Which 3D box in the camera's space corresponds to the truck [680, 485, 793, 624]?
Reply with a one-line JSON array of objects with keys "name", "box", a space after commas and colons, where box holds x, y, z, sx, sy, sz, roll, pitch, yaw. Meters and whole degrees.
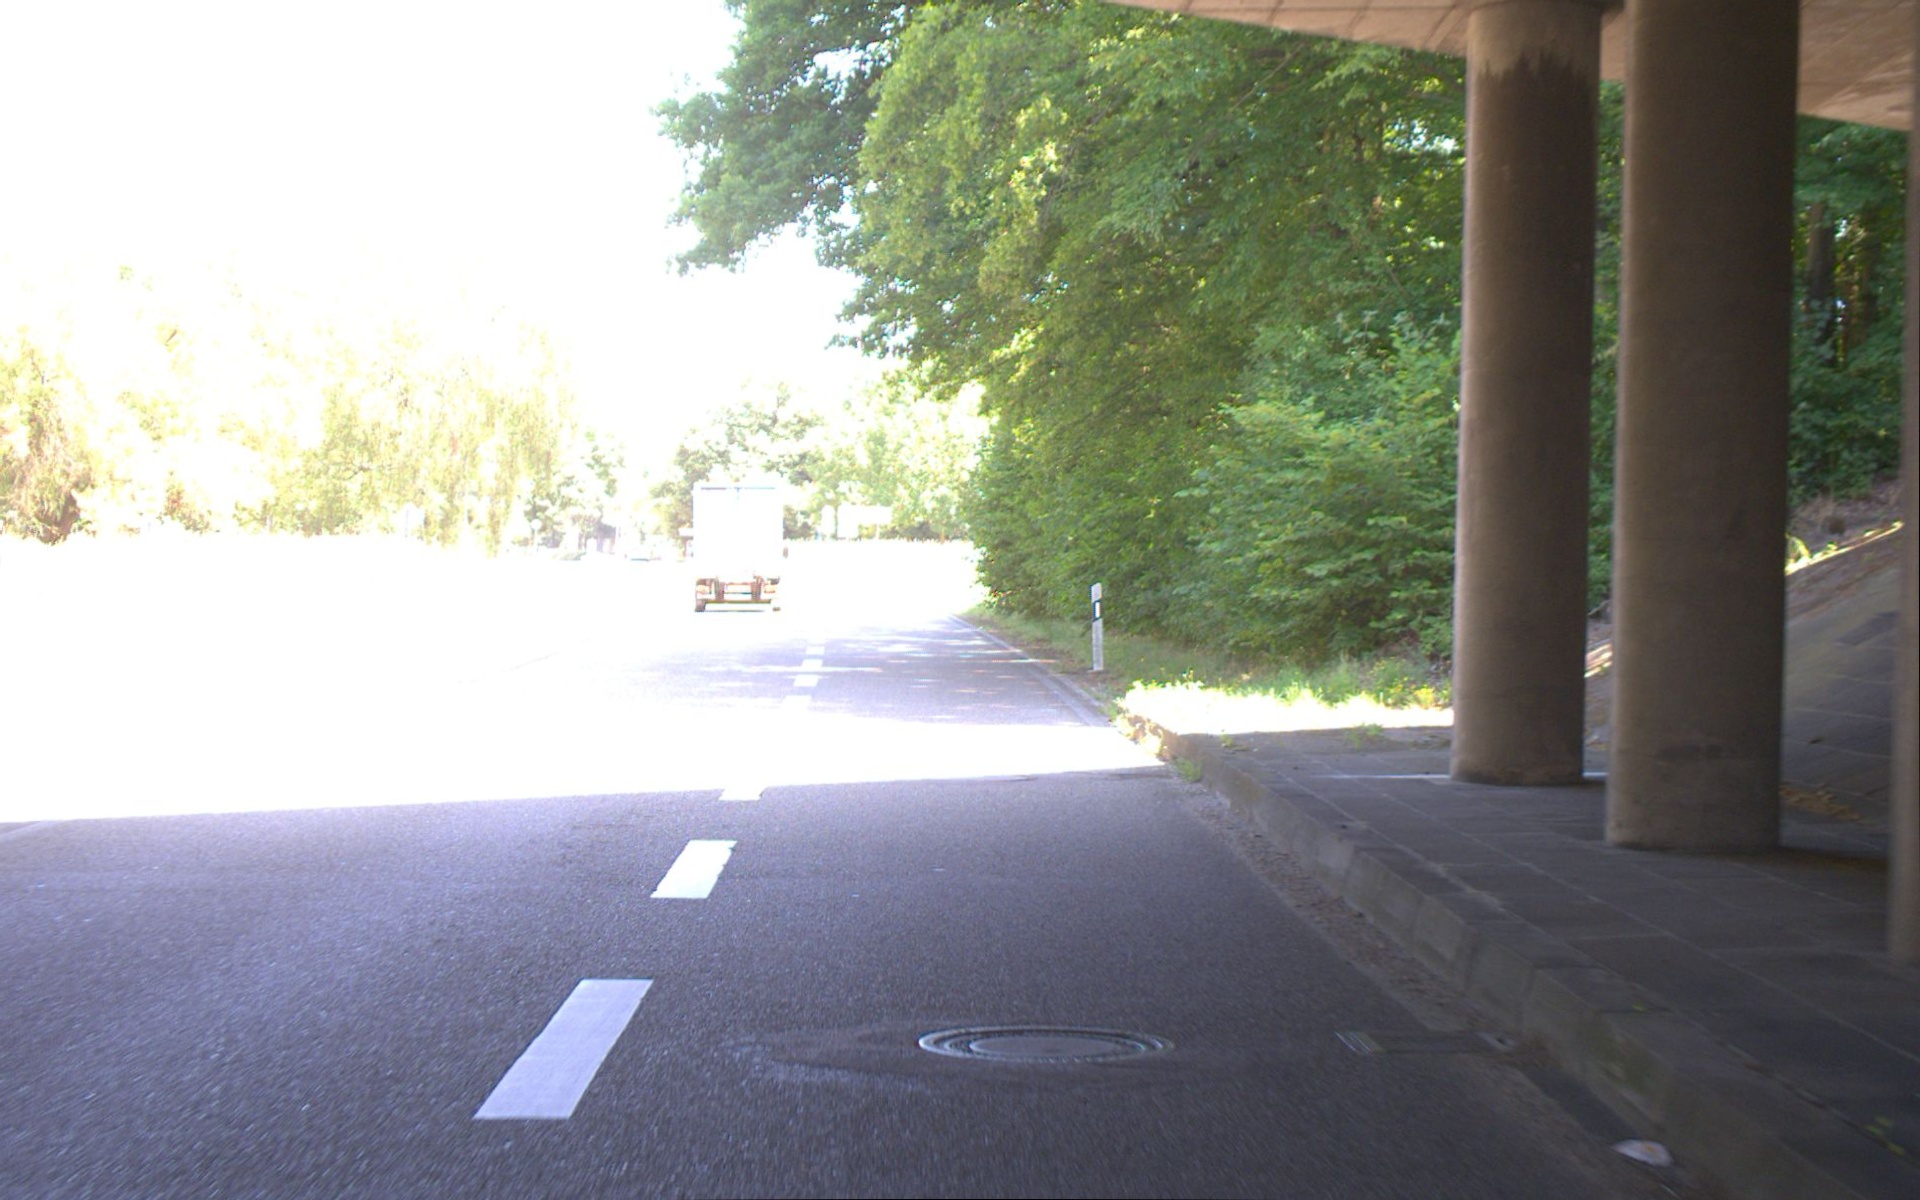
[{"name": "truck", "box": [-5.210, -1.111, 80.545, 2.533, 3.124, 5.362, 0, 2, -3]}]
